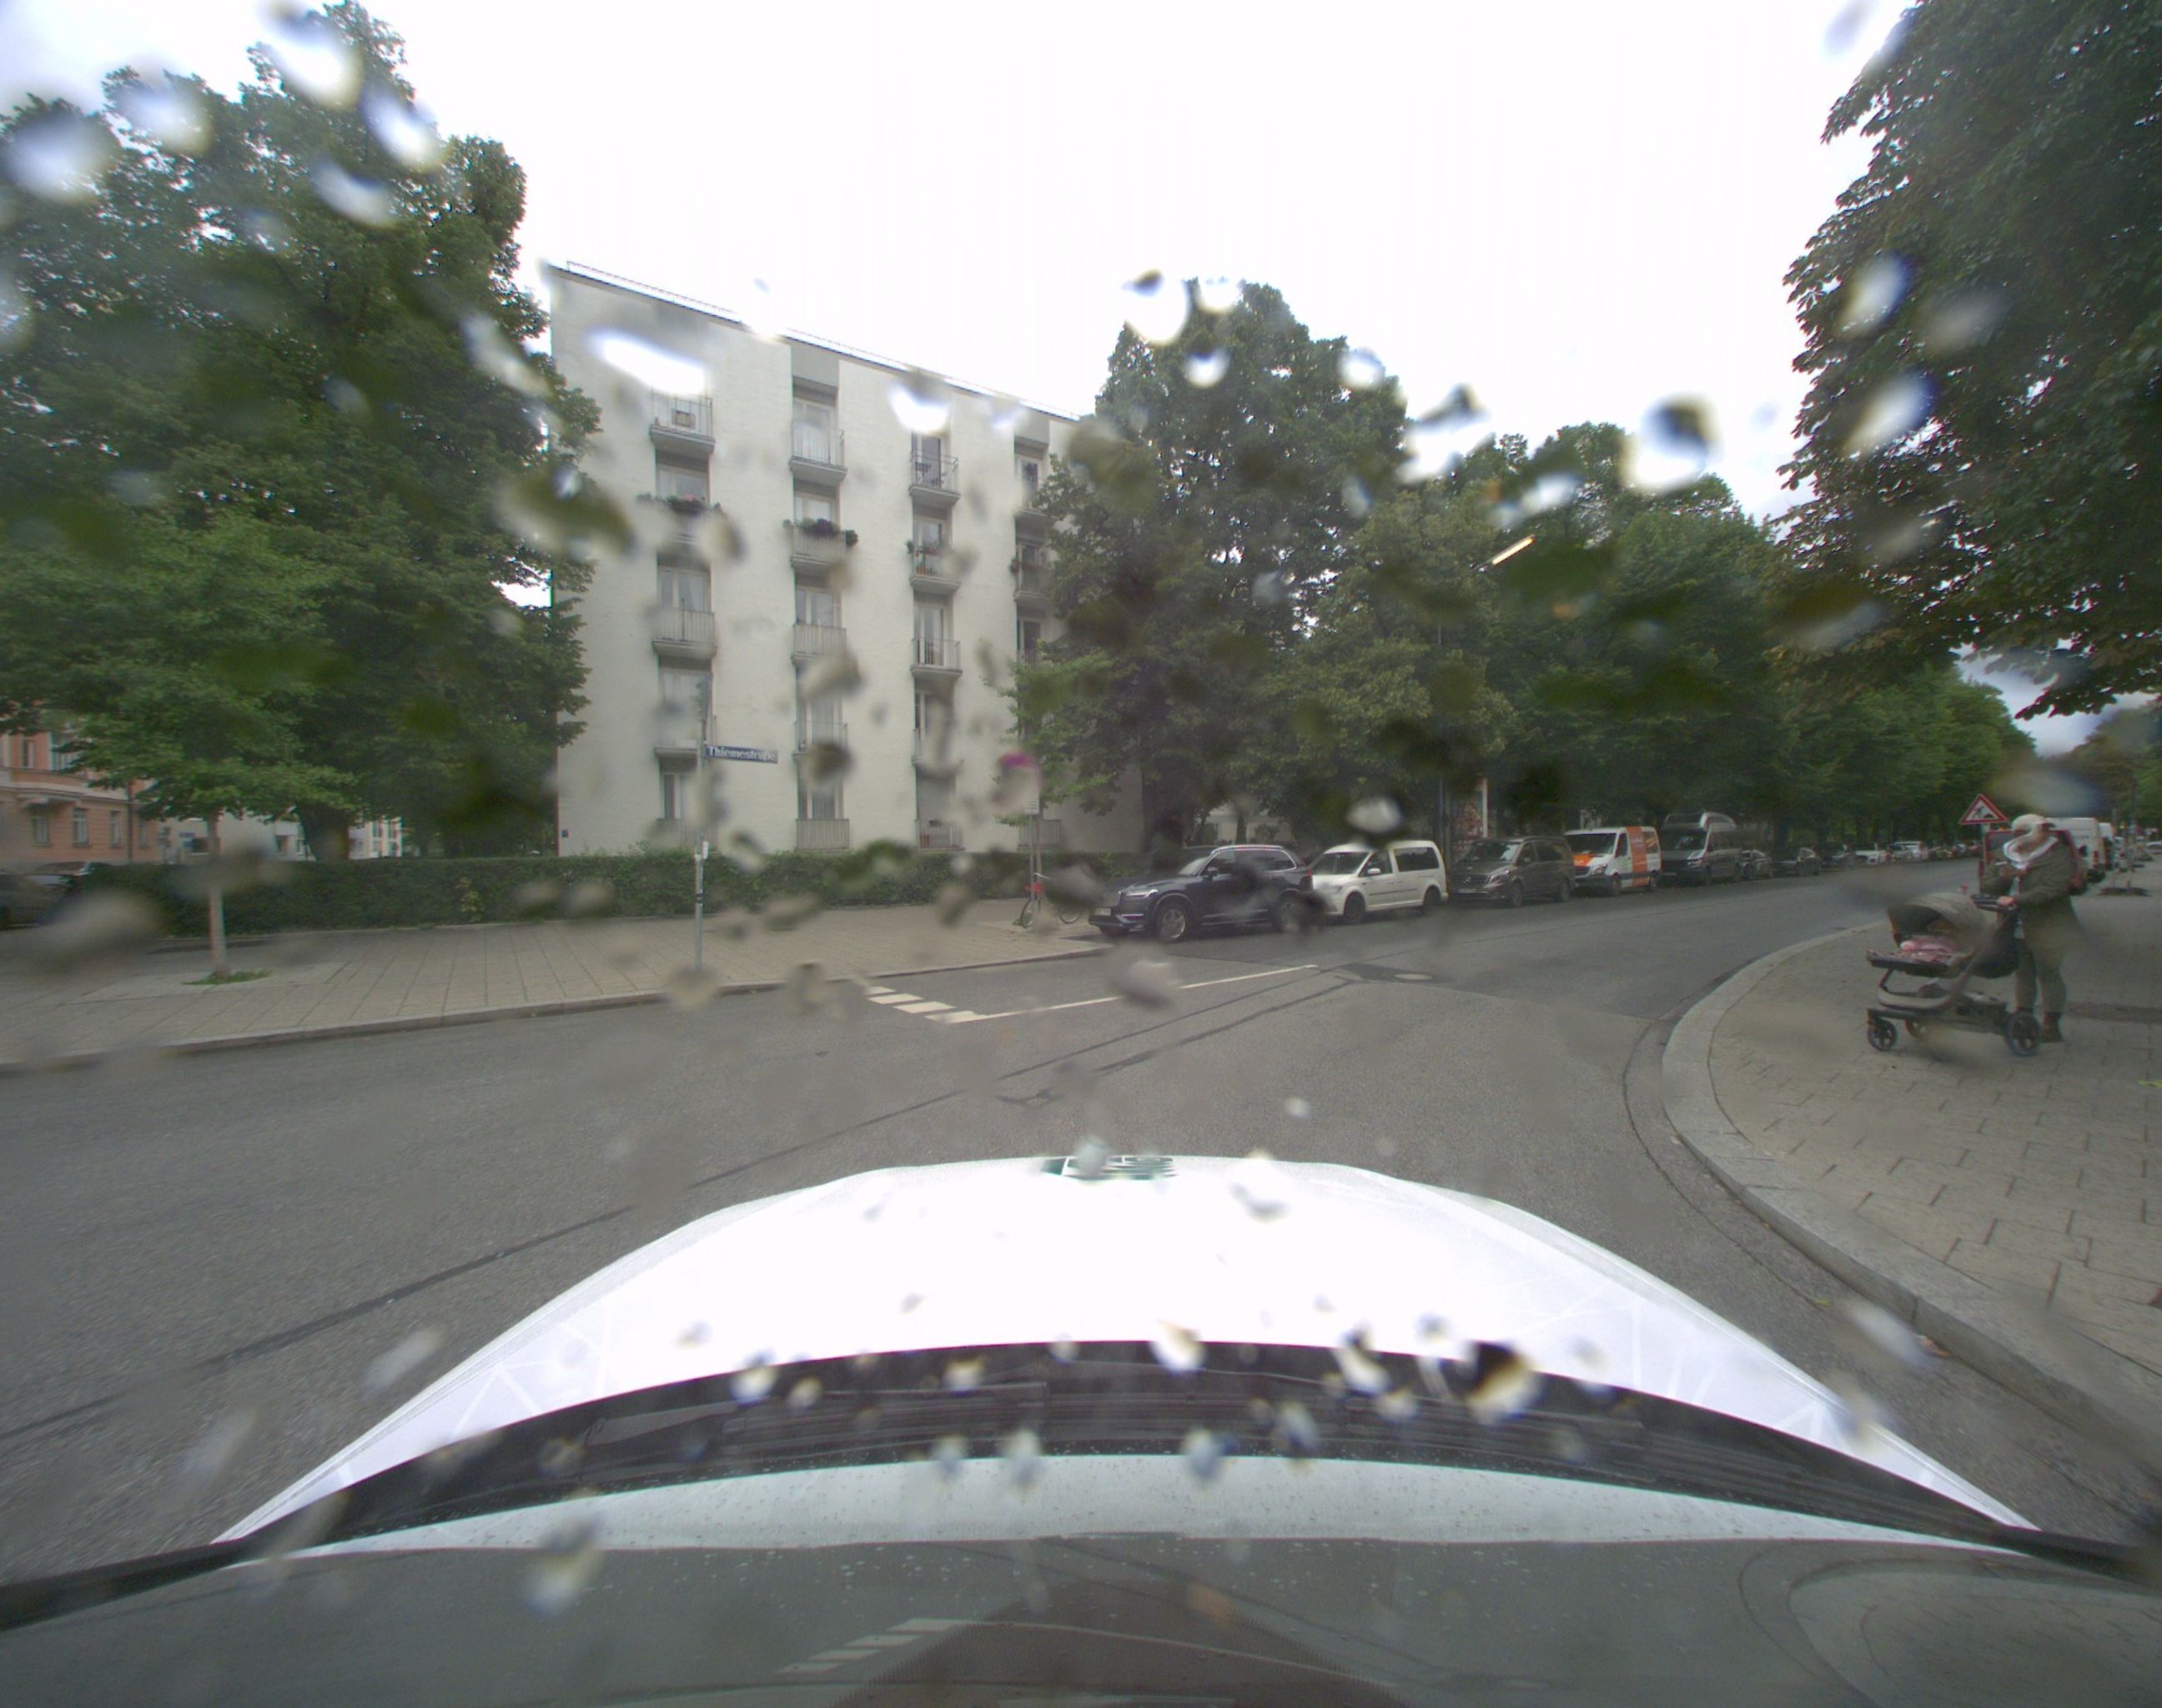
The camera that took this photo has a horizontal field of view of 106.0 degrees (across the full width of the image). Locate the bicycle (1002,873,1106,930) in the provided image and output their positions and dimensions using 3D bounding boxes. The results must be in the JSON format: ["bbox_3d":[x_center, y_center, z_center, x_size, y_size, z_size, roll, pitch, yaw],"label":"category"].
[{"bbox_3d":[-0.551,0.953,16.917,1.979,1.051,0.904,-1,0,-33],"label":"bicycle"}]

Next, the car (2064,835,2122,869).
[{"bbox_3d":[59.200,-0.125,47.690,4.469,1.922,2.024,-1,0,-40],"label":"car"}]

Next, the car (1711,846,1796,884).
[{"bbox_3d":[30.272,0.448,36.617,4.328,1.571,1.881,-1,0,-35],"label":"car"}]

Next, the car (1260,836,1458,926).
[{"bbox_3d":[6.633,0.536,19.200,4.888,1.894,1.911,-1,0,-35],"label":"car"}]

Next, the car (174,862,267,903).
[{"bbox_3d":[-35.420,1.140,33.639,1.783,1.518,3.992,-1,0,-34],"label":"car"}]

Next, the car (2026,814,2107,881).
[{"bbox_3d":[40.767,-0.292,33.704,5.274,2.558,2.024,-1,0,-39],"label":"car"}]

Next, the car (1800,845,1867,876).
[{"bbox_3d":[41.219,0.333,44.605,4.091,1.571,1.881,-1,0,-35],"label":"car"}]

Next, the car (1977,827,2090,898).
[{"bbox_3d":[28.140,0.196,24.079,4.469,1.922,2.024,-1,0,-40],"label":"car"}]

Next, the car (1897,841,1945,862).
[{"bbox_3d":[63.038,-0.203,61.075,4.091,1.571,1.881,-1,0,-35],"label":"car"}]

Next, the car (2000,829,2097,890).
[{"bbox_3d":[33.271,0.144,28.033,4.469,1.922,2.024,-1,0,-40],"label":"car"}]

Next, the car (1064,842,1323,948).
[{"bbox_3d":[2.293,0.666,15.939,4.927,1.767,2.050,-1,0,-34],"label":"car"}]

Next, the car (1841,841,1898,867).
[{"bbox_3d":[50.127,-0.039,51.769,4.091,1.571,1.881,-1,0,-35],"label":"car"}]

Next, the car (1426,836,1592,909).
[{"bbox_3d":[12.124,0.446,22.962,5.006,1.859,2.050,-1,0,-34],"label":"car"}]

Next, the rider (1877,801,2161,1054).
[{"bbox_3d":[7.009,0.491,6.081,1.140,1.668,1.078,-1,-2,-21],"label":"rider"}]

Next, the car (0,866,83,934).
[{"bbox_3d":[-26.353,1.080,19.644,1.783,1.518,3.992,-1,0,-34],"label":"car"}]

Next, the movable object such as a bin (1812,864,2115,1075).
[{"bbox_3d":[6.134,0.735,5.715,1.087,1.267,1.074,-1,-2,-21],"label":"movable object such as a bin"}]

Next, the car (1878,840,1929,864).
[{"bbox_3d":[57.761,-0.151,57.179,4.091,1.571,1.881,-1,0,-35],"label":"car"}]

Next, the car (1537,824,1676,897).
[{"bbox_3d":[17.827,0.171,27.539,5.216,2.251,2.095,-1,0,-34],"label":"car"}]

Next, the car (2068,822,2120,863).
[{"bbox_3d":[66.309,-0.749,53.355,5.274,2.558,2.024,-1,0,-39],"label":"car"}]

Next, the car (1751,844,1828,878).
[{"bbox_3d":[34.326,0.315,39.433,4.091,1.538,1.881,-1,0,-35],"label":"car"}]

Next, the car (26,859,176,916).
[{"bbox_3d":[-29.154,0.935,24.392,1.783,1.518,3.992,-1,0,-34],"label":"car"}]

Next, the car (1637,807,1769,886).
[{"bbox_3d":[25.369,-0.316,33.130,6.605,2.922,2.318,-1,0,-34],"label":"car"}]
